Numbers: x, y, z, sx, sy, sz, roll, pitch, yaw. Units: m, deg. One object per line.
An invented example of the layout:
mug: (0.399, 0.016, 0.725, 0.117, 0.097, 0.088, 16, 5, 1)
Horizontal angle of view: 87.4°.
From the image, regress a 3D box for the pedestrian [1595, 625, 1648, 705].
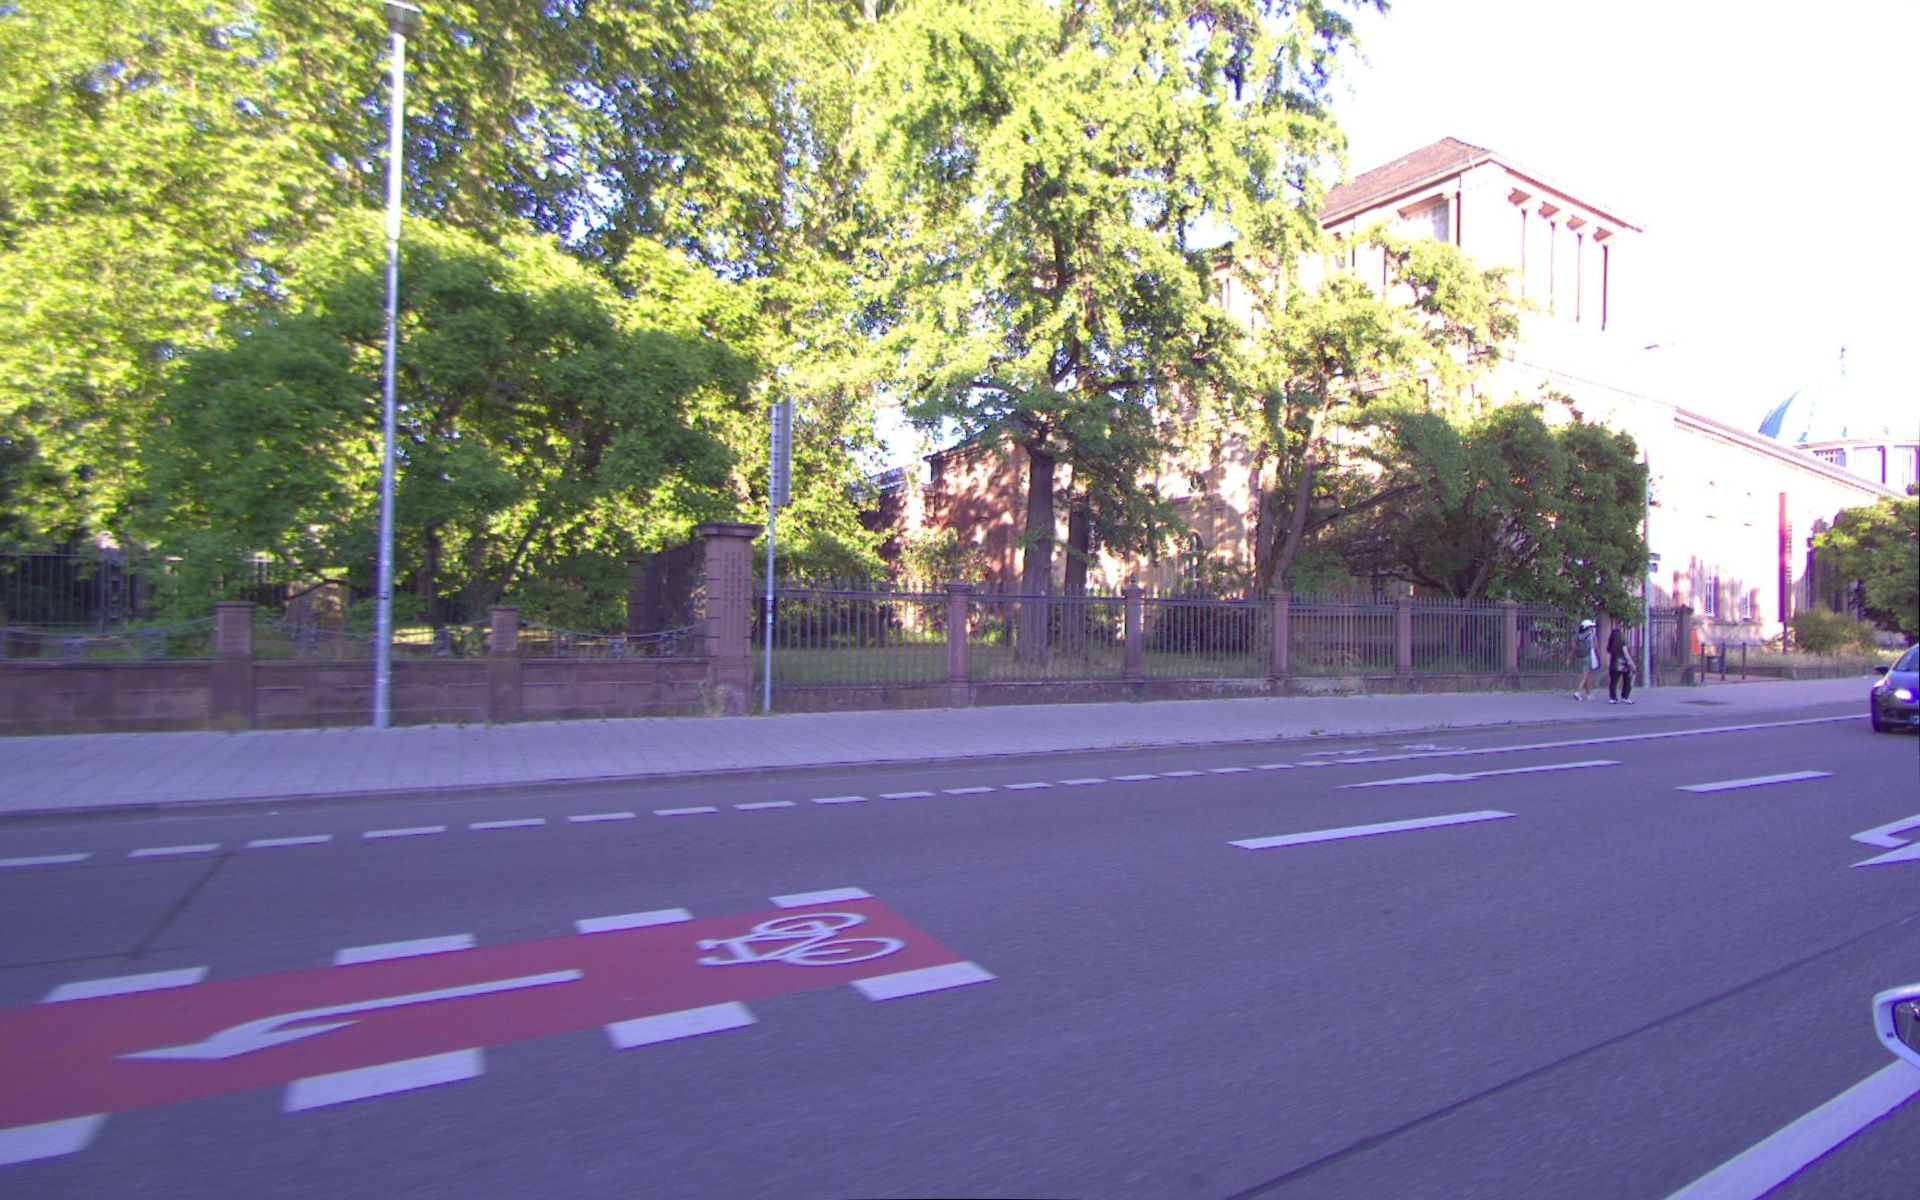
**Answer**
pedestrian: (14.002, 1.354, 21.260, 0.679, 1.644, 0.679, 1, -1, -25)

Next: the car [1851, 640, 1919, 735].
car: (16.390, 1.389, 16.513, 3.962, 1.458, 1.823, 2, -3, -36)

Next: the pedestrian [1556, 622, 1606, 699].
pedestrian: (13.511, 1.302, 21.863, 0.679, 1.644, 0.679, 1, -1, -25)
